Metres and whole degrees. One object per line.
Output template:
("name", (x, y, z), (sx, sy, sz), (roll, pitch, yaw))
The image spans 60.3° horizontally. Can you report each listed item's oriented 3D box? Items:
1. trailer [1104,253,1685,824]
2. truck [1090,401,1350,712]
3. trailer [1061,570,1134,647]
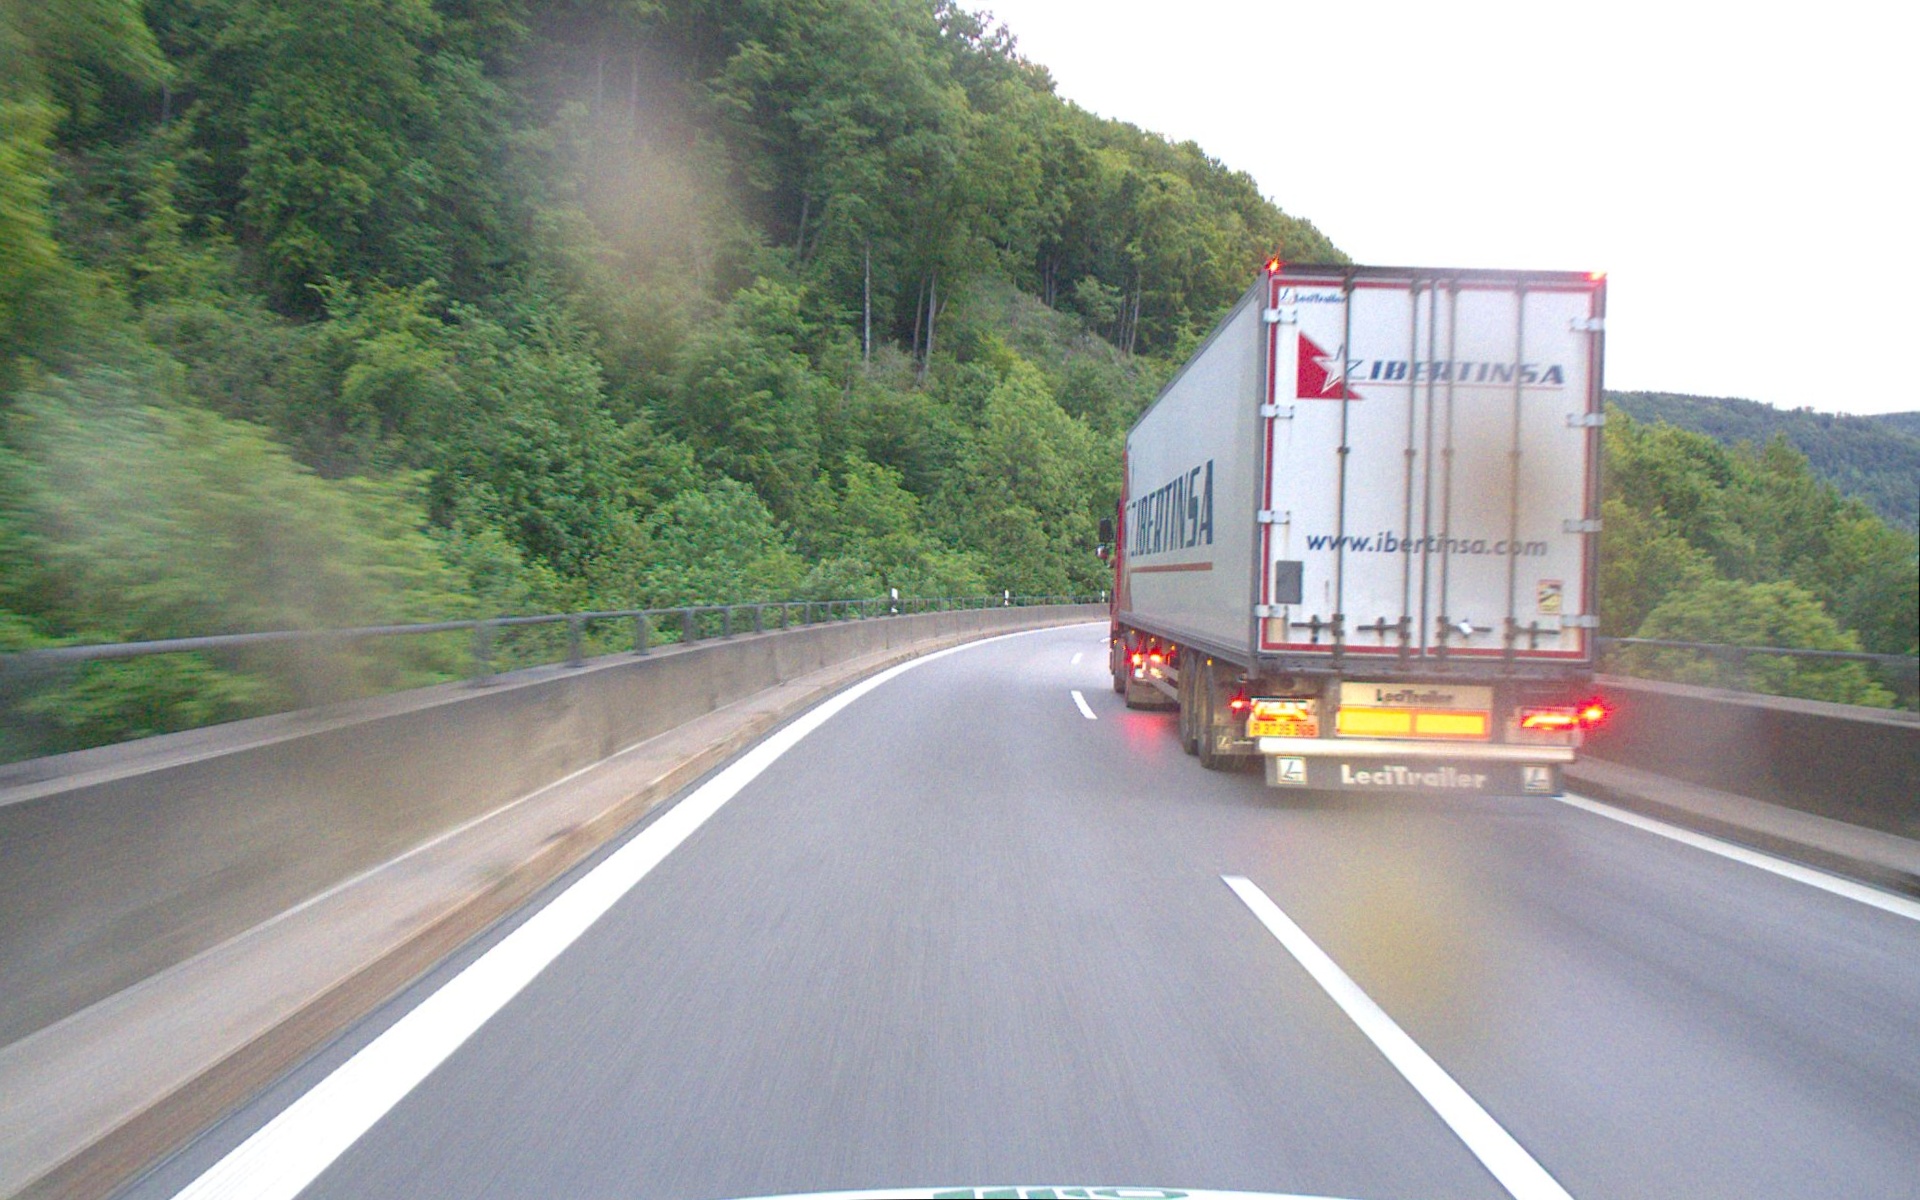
("trailer", (3.721, -0.508, 18.915), (3.033, 4.039, 14.219), (1, 1, 1))
("truck", (3.833, -0.583, 25.942), (3.006, 4.217, 6.446), (1, 0, 0))
("trailer", (4.828, 0.241, 57.280), (2.011, 2.416, 5.943), (3, 1, 9))
